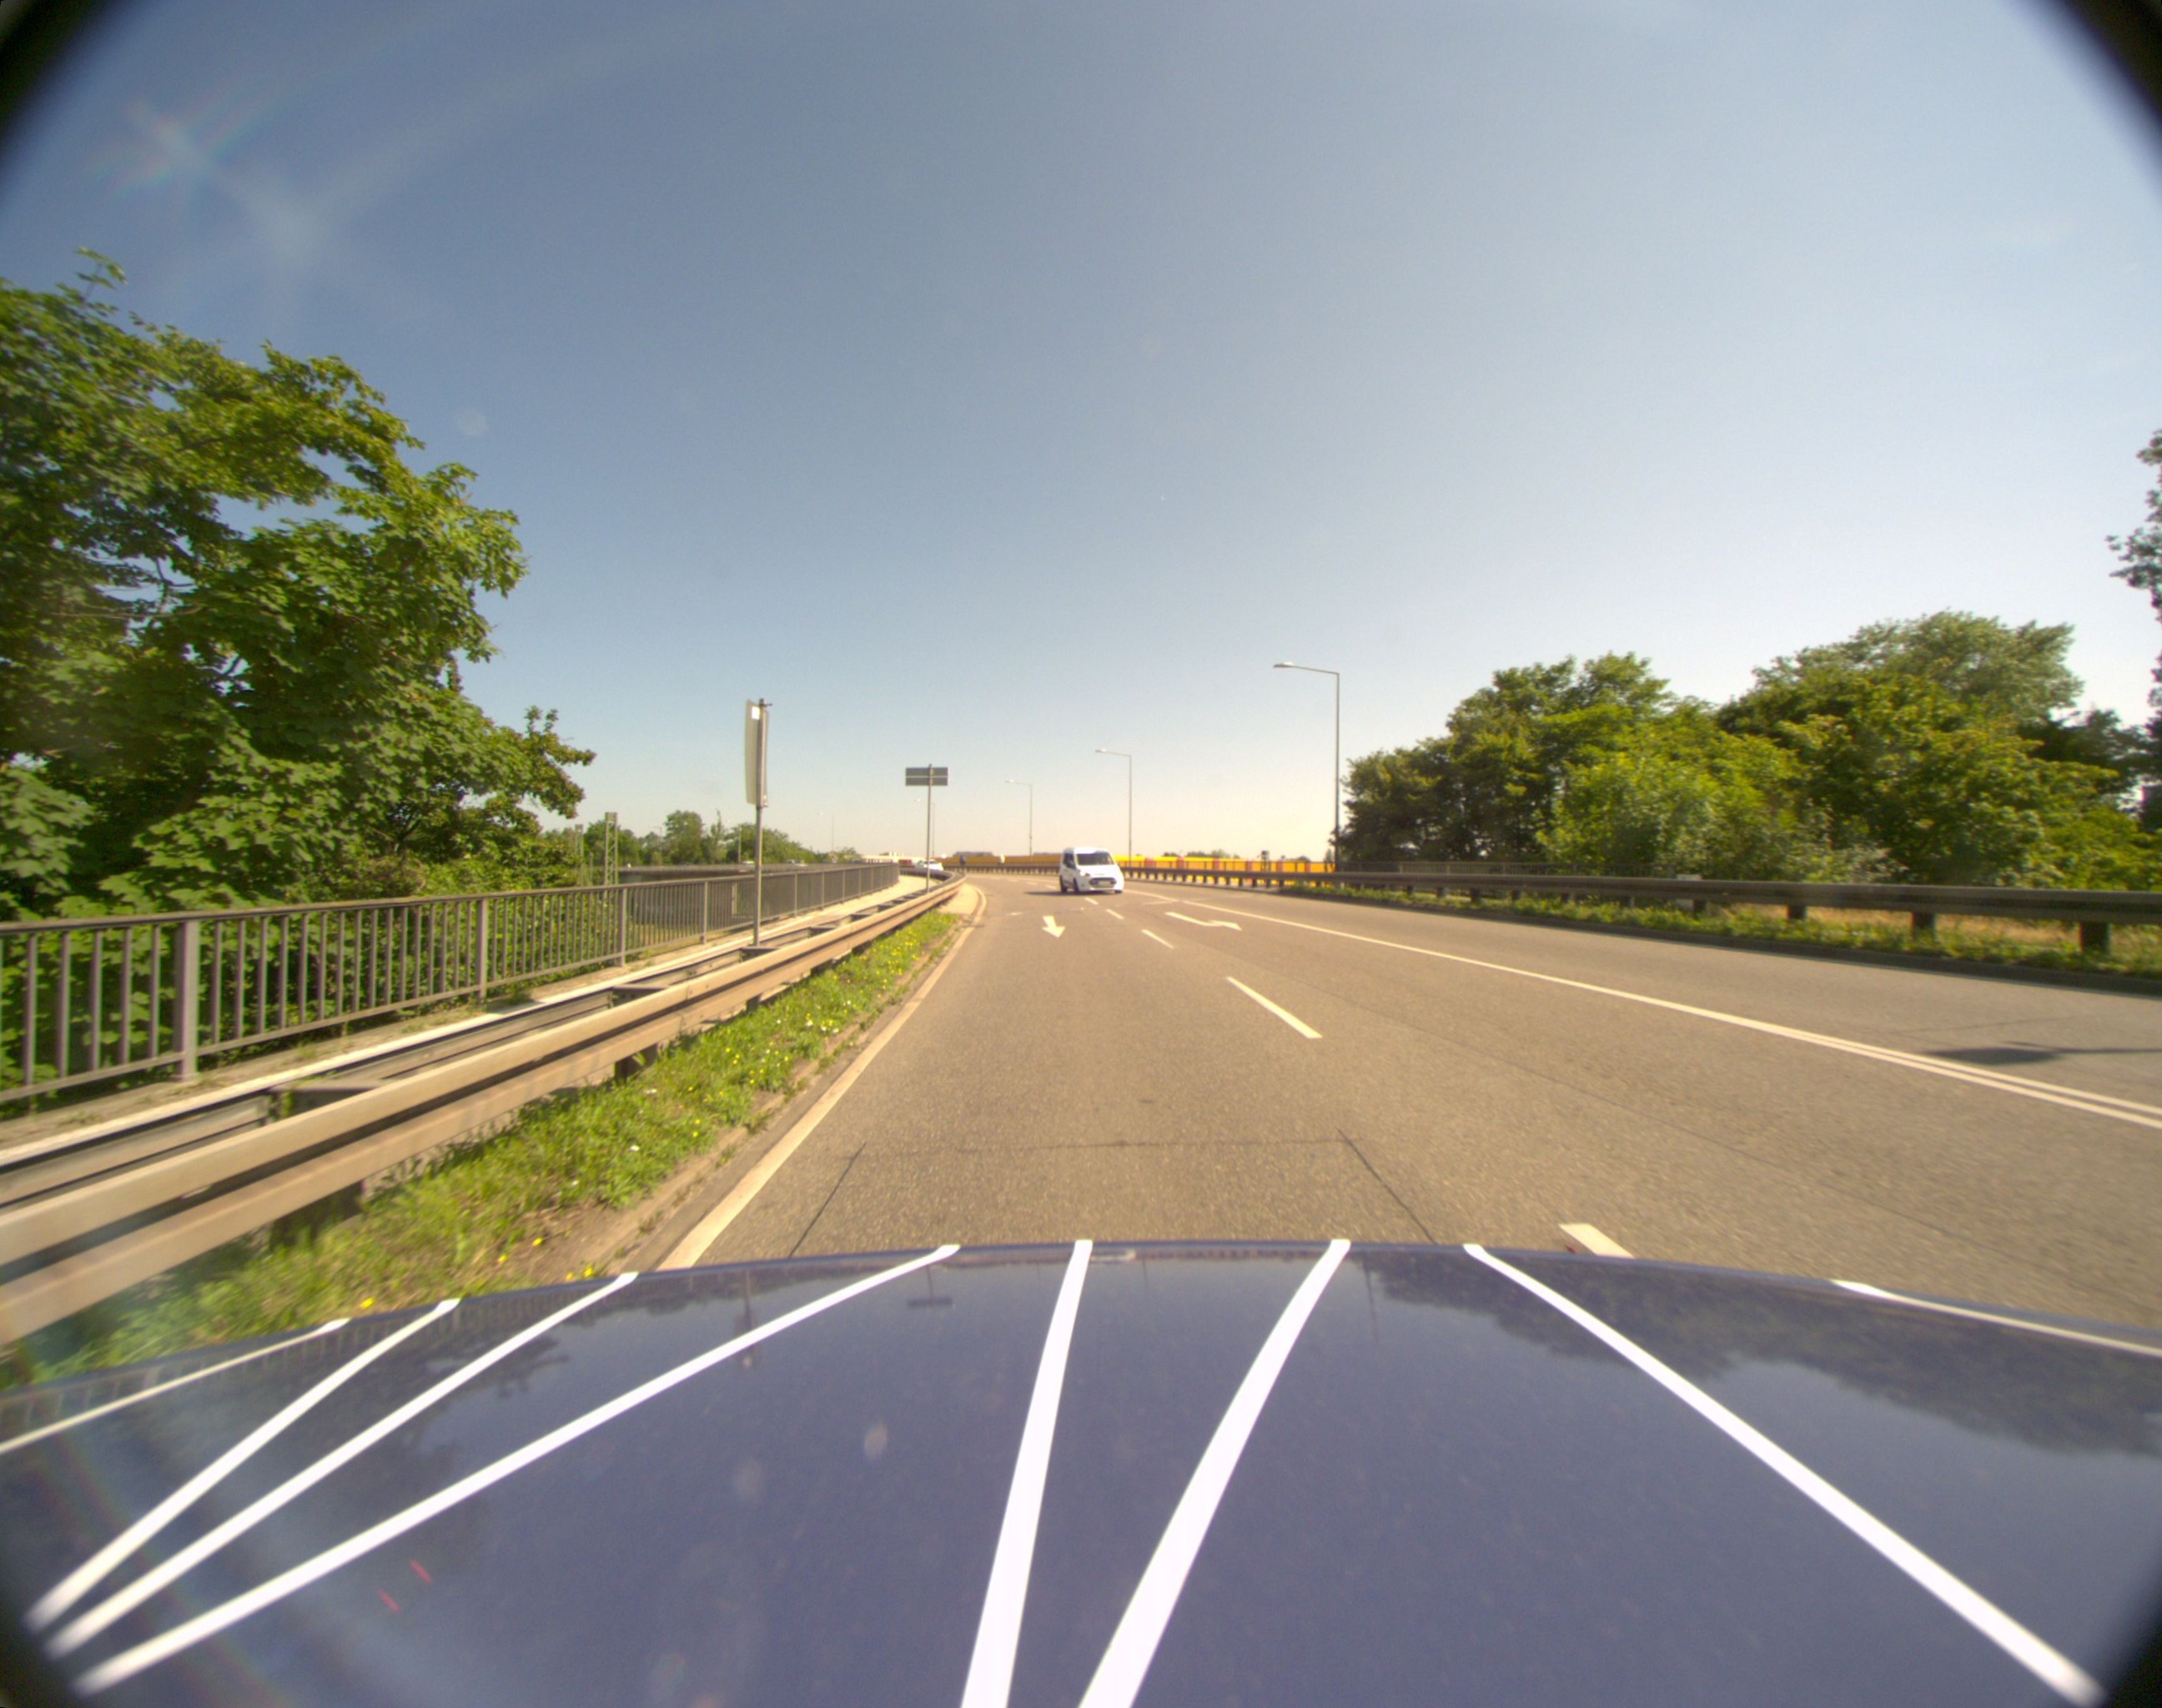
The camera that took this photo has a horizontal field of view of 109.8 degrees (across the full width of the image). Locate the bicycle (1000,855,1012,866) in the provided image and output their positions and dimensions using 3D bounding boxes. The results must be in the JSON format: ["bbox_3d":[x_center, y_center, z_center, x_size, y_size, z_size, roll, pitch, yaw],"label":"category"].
[{"bbox_3d":[-7.554,0.696,76.473,0.576,1.040,1.706,-4,1,-23],"label":"bicycle"}]

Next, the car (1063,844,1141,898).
[{"bbox_3d":[0.680,0.616,28.675,1.899,1.785,4.443,-3,0,-12],"label":"car"}]

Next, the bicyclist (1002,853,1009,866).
[{"bbox_3d":[-7.619,0.523,76.619,0.490,1.321,0.944,-1,1,-24],"label":"bicyclist"}]

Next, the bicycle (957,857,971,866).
[{"bbox_3d":[-12.997,0.850,84.688,0.933,0.885,1.963,-1,-1,-28],"label":"bicycle"}]

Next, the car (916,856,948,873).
[{"bbox_3d":[-13.664,0.975,69.657,1.850,1.479,4.143,-1,0,-26],"label":"car"}]

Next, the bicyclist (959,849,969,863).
[{"bbox_3d":[-13.056,0.240,84.718,0.663,1.487,1.014,-1,-1,-30],"label":"bicyclist"}]
